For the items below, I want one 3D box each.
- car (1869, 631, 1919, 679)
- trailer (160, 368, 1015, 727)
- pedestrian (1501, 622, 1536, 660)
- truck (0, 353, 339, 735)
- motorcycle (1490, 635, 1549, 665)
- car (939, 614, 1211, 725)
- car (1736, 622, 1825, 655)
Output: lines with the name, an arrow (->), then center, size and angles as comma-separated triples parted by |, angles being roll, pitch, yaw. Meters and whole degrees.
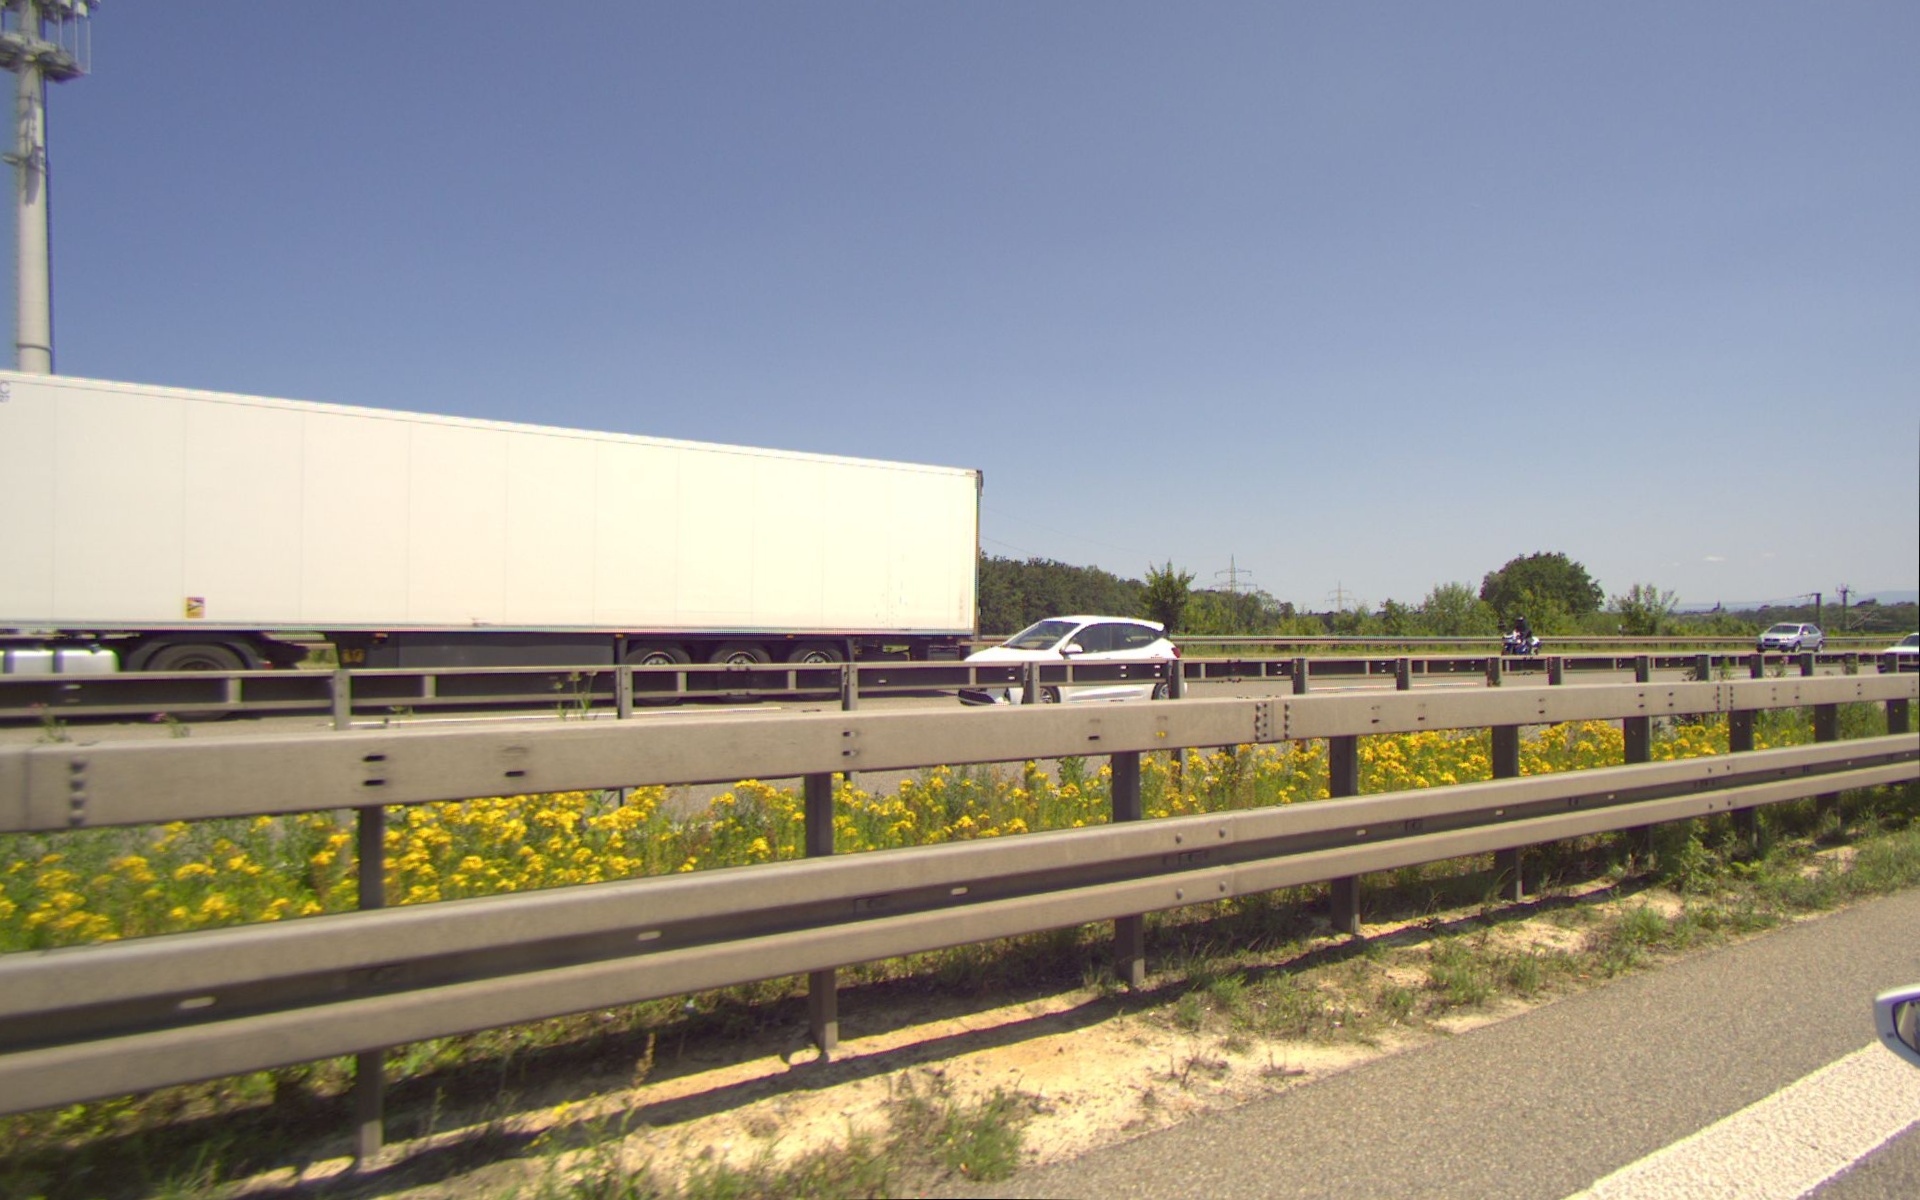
car -> 31.520, 1.761, 32.551 | 4.701, 1.422, 1.650 | 1, 0, -29
trailer -> -5.019, -0.508, 16.366 | 12.102, 4.297, 3.021 | 1, 0, -30
pedestrian -> 19.876, 1.457, 35.729 | 1.023, 1.334, 0.648 | 2, -1, -30
truck -> -11.757, -0.636, 12.519 | 6.605, 4.297, 3.021 | 1, 0, -30
motorcycle -> 19.923, 1.770, 35.757 | 2.458, 1.028, 0.655 | 1, 0, -30
car -> 1.824, 1.020, 15.700 | 3.959, 1.508, 1.733 | 1, 0, -29
car -> 41.553, 1.946, 50.854 | 4.319, 1.552, 2.096 | 1, 0, -29
